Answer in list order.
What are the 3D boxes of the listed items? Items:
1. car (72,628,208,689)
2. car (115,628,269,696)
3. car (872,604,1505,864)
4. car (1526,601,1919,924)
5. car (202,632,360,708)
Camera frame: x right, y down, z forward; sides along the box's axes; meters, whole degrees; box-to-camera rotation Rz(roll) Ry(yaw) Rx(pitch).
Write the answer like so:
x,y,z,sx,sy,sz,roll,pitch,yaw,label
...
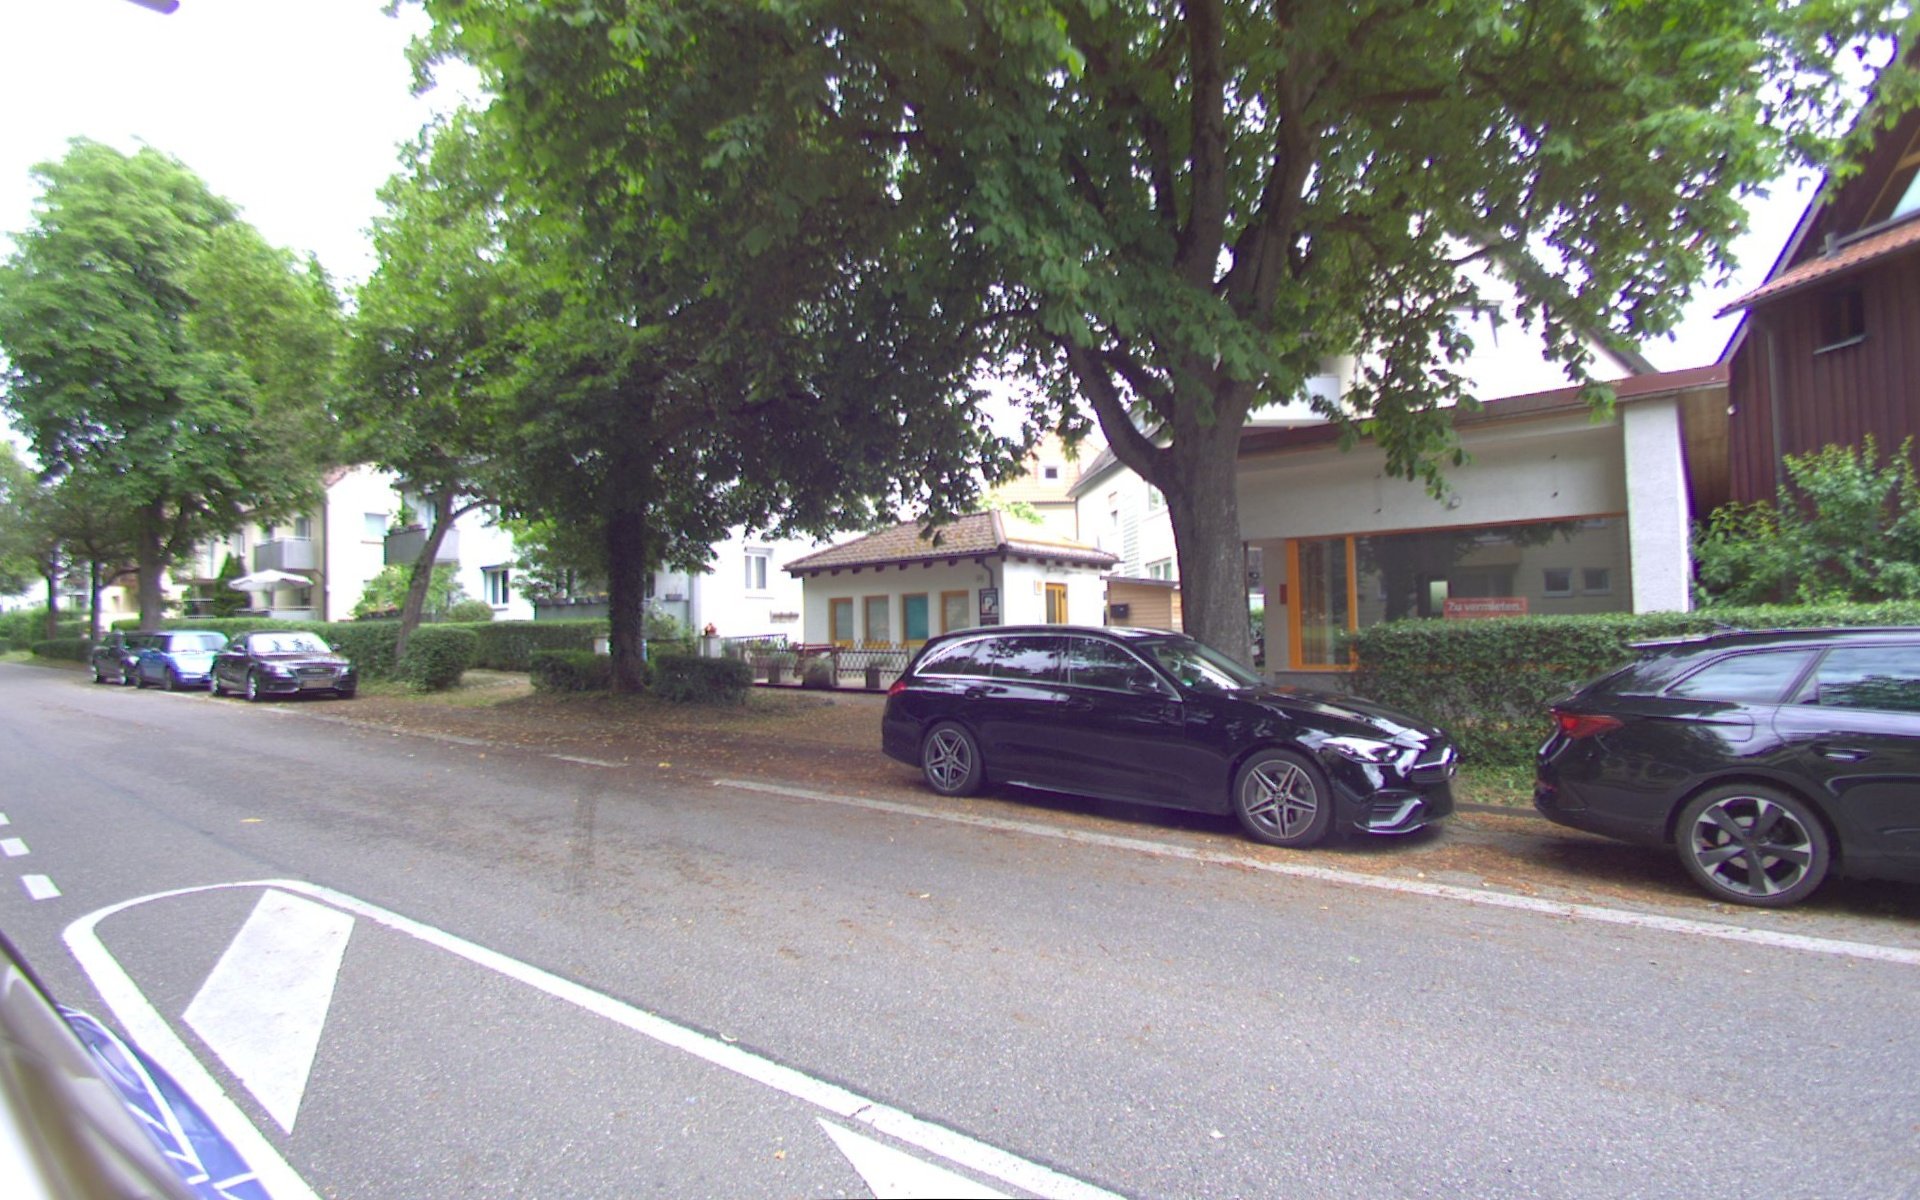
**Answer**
x,y,z,sx,sy,sz,roll,pitch,yaw,label
-22.569,1.580,27.811,4.558,1.545,1.866,-2,-3,37,car
-18.880,1.479,24.819,4.558,1.512,1.866,-2,-3,37,car
1.595,0.868,8.164,4.612,1.511,1.973,-2,-3,41,car
5.490,0.758,4.952,4.536,1.497,1.674,-2,-3,38,car
-14.185,1.390,21.054,4.169,1.414,1.713,-2,-3,41,car
